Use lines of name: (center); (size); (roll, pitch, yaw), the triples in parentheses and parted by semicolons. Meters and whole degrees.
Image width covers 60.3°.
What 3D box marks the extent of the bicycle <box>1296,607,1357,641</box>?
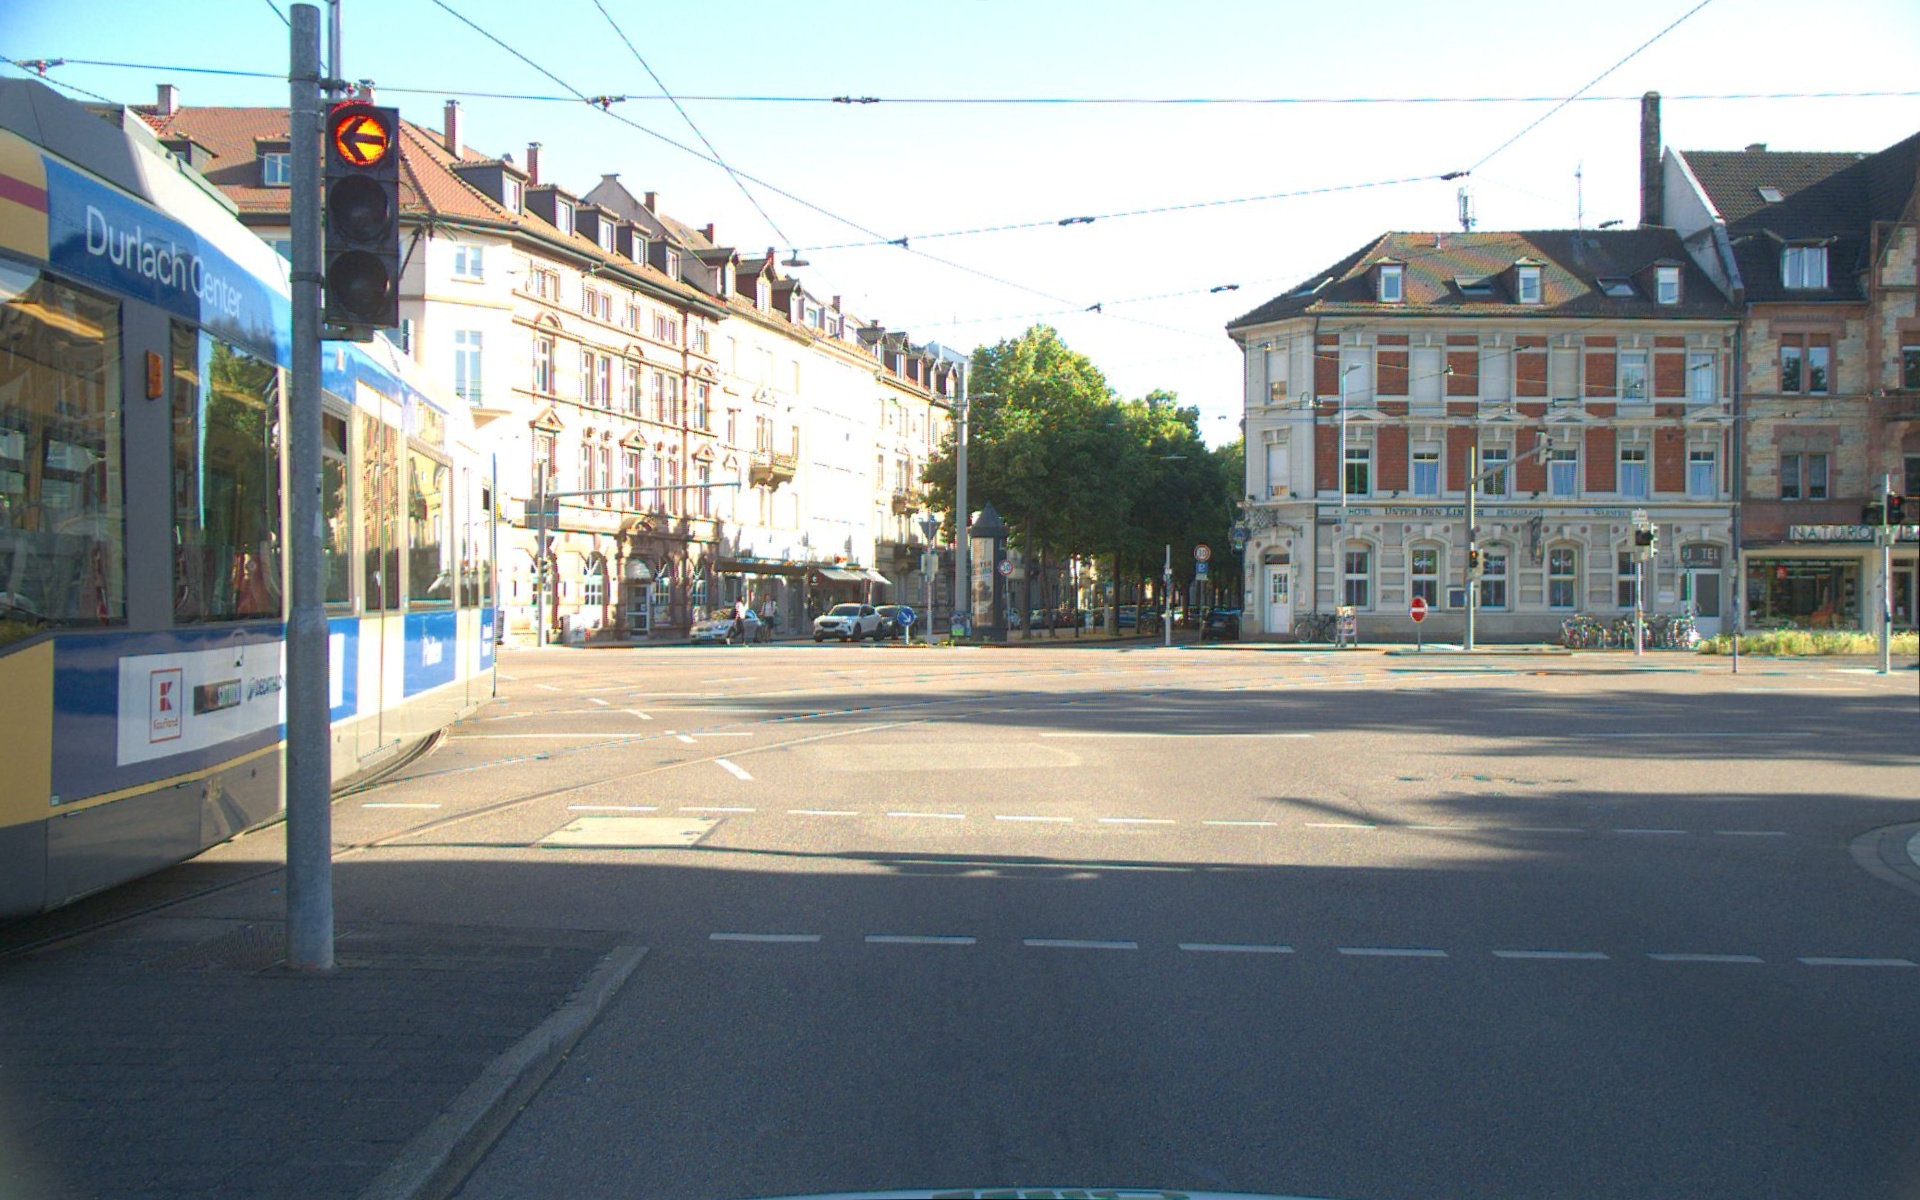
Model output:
bicycle: (12.745, 0.827, 57.567); (2.045, 1.144, 0.366); (1, -1, -5)

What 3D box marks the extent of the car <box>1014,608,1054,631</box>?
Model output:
car: (5.509, 1.444, 122.721); (1.951, 1.640, 4.393); (0, 0, 17)

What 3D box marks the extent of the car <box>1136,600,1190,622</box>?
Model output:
car: (16.398, 0.912, 133.857); (3.912, 1.736, 1.996); (0, 0, 30)

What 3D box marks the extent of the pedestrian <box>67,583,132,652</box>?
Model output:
pedestrian: (-21.571, 0.436, 41.472); (1.058, 1.714, 1.103); (0, 0, -1)

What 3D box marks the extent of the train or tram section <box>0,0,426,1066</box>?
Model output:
train or tram section: (-4.687, -0.441, 8.005); (2.762, 3.561, 7.946); (0, 0, -9)

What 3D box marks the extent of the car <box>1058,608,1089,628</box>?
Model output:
car: (9.372, 1.486, 136.447); (1.727, 1.576, 4.394); (0, 0, 16)

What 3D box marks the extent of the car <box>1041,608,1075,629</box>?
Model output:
car: (7.760, 1.444, 130.546); (1.798, 1.579, 4.393); (0, 0, 16)

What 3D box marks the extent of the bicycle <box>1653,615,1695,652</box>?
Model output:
bicycle: (23.031, 1.071, 53.384); (0.596, 1.156, 2.136); (0, 0, 4)

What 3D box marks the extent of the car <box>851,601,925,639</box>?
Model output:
car: (-3.157, 0.866, 73.770); (1.951, 1.640, 4.393); (0, 0, 17)

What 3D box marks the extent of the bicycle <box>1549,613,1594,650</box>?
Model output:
bicycle: (19.816, 1.000, 53.644); (0.789, 1.163, 2.175); (0, 0, 4)

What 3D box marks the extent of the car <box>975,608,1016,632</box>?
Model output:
car: (2.396, 1.340, 110.973); (1.951, 1.512, 4.003); (0, 0, 13)

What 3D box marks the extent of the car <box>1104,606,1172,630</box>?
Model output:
car: (12.426, 1.217, 115.559); (4.290, 1.640, 1.998); (0, 0, 26)

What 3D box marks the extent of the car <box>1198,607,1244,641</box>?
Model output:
car: (13.059, 1.174, 82.618); (1.951, 1.613, 4.003); (0, 0, 13)

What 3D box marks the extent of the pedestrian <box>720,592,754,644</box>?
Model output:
pedestrian: (-7.654, 0.603, 56.760); (1.029, 1.774, 0.805); (0, 0, -16)

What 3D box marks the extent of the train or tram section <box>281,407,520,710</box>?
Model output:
train or tram section: (-8.812, -0.529, 25.528); (2.730, 3.561, 11.955); (0, 0, -21)

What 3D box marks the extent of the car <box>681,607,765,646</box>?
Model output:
car: (-9.534, 1.035, 66.880); (1.858, 1.481, 4.002); (0, 0, 17)

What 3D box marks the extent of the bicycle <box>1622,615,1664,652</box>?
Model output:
bicycle: (22.067, 1.068, 53.436); (0.605, 1.163, 2.175); (0, 0, 4)

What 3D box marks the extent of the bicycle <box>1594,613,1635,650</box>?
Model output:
bicycle: (21.159, 1.005, 53.495); (0.605, 1.163, 2.175); (0, 0, 4)

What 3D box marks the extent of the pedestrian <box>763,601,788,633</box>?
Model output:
pedestrian: (-8.979, 0.823, 80.466); (0.908, 1.562, 1.138); (0, 0, 13)

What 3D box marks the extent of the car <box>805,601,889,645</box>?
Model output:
car: (-4.551, 0.886, 67.234); (1.951, 1.713, 4.393); (0, 0, 17)

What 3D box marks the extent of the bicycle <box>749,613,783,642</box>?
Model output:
bicycle: (-7.604, 1.081, 64.870); (0.665, 1.085, 2.127); (0, 0, 12)

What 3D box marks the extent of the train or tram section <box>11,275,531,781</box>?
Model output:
train or tram section: (-6.001, -0.535, 16.070); (2.763, 3.561, 8.443); (0, 0, -9)

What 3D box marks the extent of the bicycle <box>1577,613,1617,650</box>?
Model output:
bicycle: (20.587, 1.010, 53.525); (0.605, 1.163, 2.175); (0, 0, 4)

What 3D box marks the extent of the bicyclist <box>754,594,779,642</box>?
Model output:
bicyclist: (-7.593, 0.694, 64.912); (0.664, 1.852, 1.071); (0, 0, 12)
